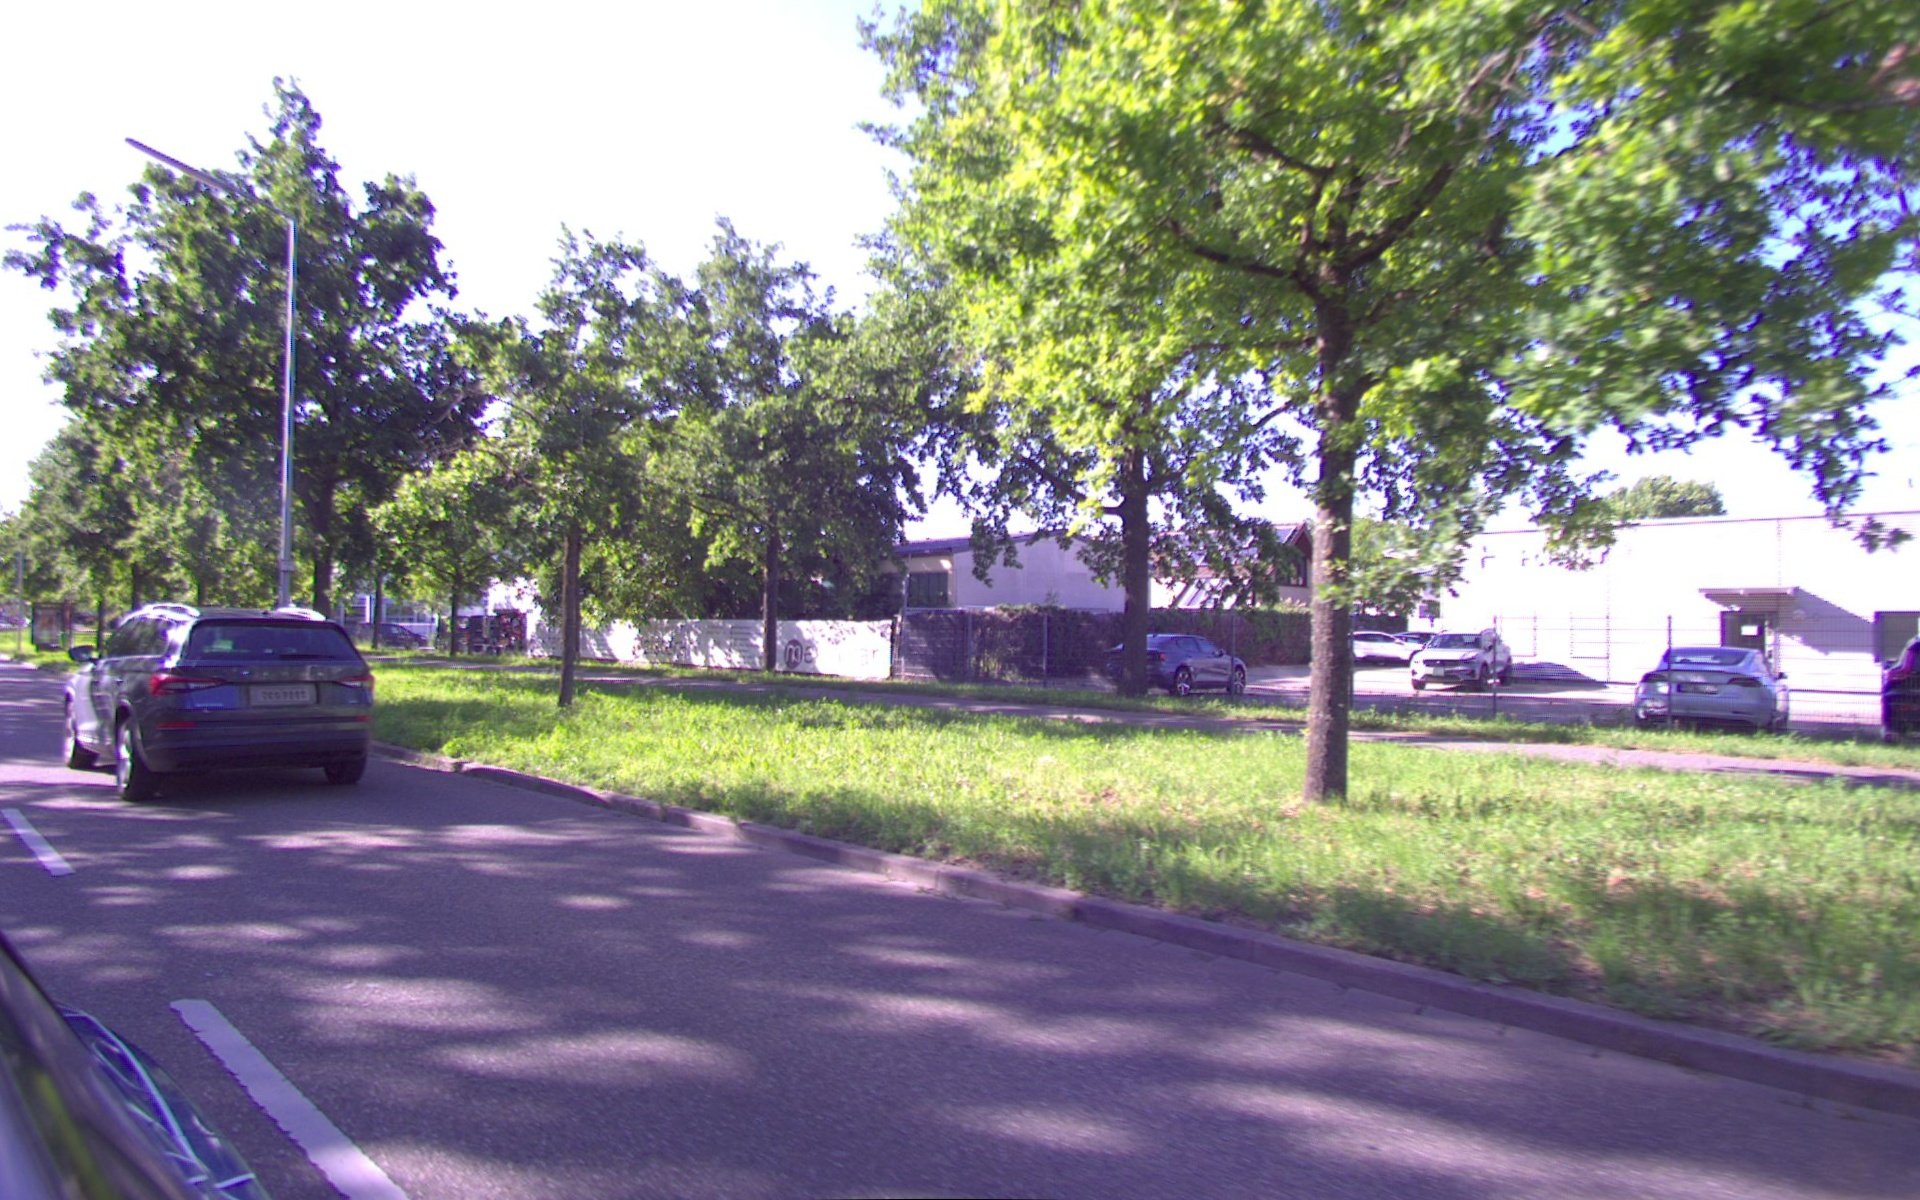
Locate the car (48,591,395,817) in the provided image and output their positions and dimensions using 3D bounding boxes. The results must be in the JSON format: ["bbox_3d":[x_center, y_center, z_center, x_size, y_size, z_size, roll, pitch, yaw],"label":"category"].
[{"bbox_3d":[-7.149,0.833,9.635,4.197,1.685,1.749,-1,-3,41],"label":"car"}]

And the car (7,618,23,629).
[{"bbox_3d":[-170.160,4.251,182.288,1.969,2.029,4.006,1,-2,-41],"label":"car"}]

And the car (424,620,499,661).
[{"bbox_3d":[-28.240,2.263,57.252,5.671,2.191,1.971,-2,-2,43],"label":"car"}]

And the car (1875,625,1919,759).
[{"bbox_3d":[14.994,1.307,15.170,1.861,1.759,3.944,-1,0,42],"label":"car"}]

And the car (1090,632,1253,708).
[{"bbox_3d":[5.182,1.620,24.525,2.198,1.530,3.944,-1,0,42],"label":"car"}]

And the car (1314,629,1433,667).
[{"bbox_3d":[17.921,2.080,44.064,4.577,1.530,1.739,-1,0,16],"label":"car"}]

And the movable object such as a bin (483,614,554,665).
[{"bbox_3d":[-23.328,2.022,53.419,4.237,2.535,1.971,-1,0,44],"label":"movable object such as a bin"}]

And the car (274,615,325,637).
[{"bbox_3d":[-60.485,2.339,92.689,1.973,1.851,3.997,-1,0,2],"label":"car"}]

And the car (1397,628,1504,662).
[{"bbox_3d":[23.799,2.171,49.222,4.595,1.530,1.732,-1,0,26],"label":"car"}]

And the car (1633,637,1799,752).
[{"bbox_3d":[12.857,1.470,17.109,1.861,1.530,4.265,-1,0,42],"label":"car"}]

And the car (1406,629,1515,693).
[{"bbox_3d":[14.187,1.659,28.570,1.751,1.530,3.944,-1,0,42],"label":"car"}]

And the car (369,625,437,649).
[{"bbox_3d":[-47.713,3.123,86.817,4.963,1.851,2.007,-1,0,-24],"label":"car"}]

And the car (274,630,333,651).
[{"bbox_3d":[-53.862,3.302,83.130,3.827,1.513,2.006,-1,0,-27],"label":"car"}]
